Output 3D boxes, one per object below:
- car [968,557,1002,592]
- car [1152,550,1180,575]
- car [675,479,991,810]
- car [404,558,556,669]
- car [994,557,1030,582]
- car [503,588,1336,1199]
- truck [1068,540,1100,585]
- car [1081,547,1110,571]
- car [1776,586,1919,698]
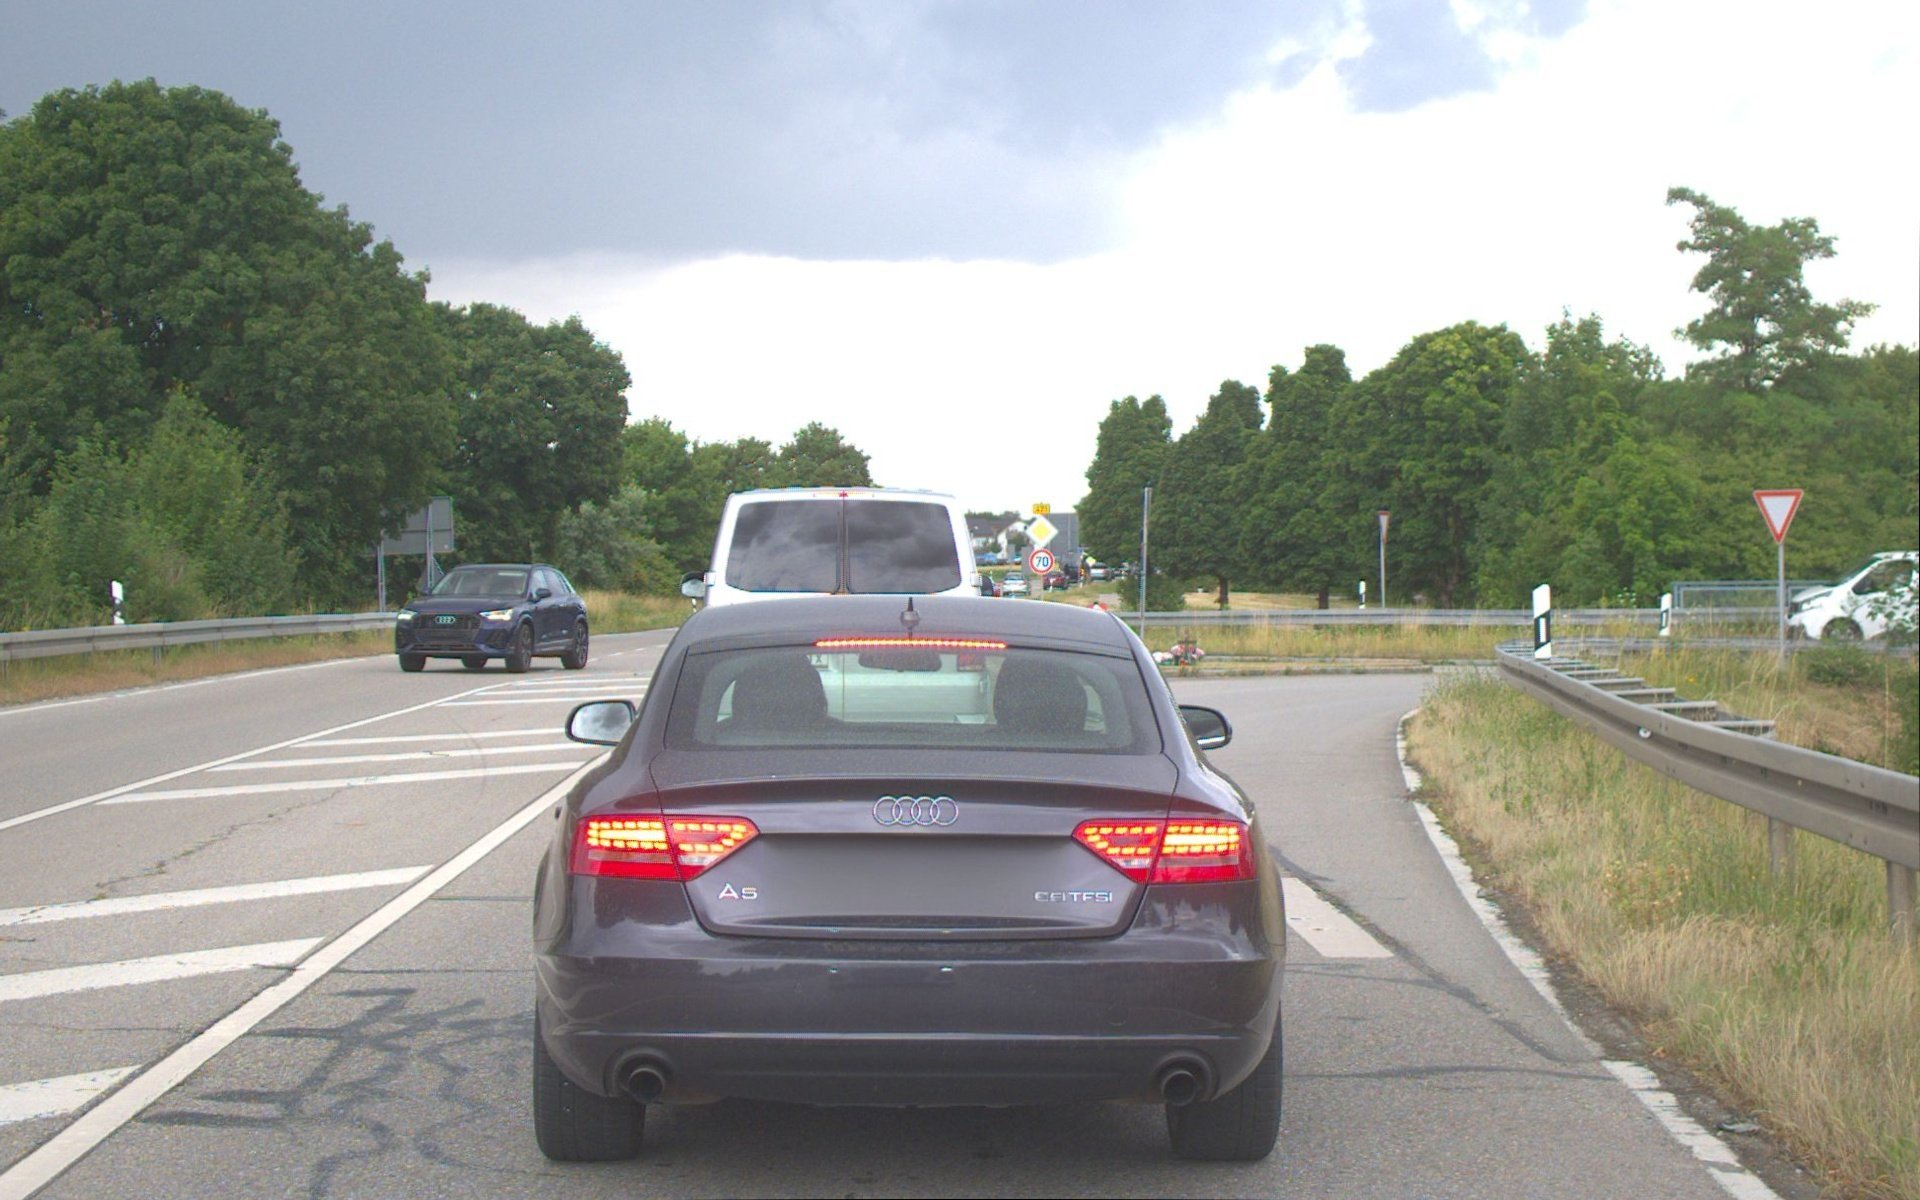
[{"bbox_3d":[1.513,-1.547,208.128,1.993,2.007,4.000,1,1,1],"label":"car"},{"bbox_3d":[14.378,-2.606,239.343,1.876,1.686,4.000,1,1,4],"label":"car"},{"bbox_3d":[-0.842,0.237,23.050,1.910,2.007,4.000,1,1,-2],"label":"car"},{"bbox_3d":[-6.967,0.164,50.235,1.709,1.513,4.210,1,1,-1],"label":"car"},{"bbox_3d":[3.426,-2.000,226.917,2.205,1.577,4.379,1,1,-2],"label":"car"},{"bbox_3d":[-0.145,0.684,9.036,1.779,1.394,3.337,0,1,-2],"label":"car"},{"bbox_3d":[8.210,-2.503,228.208,1.993,2.908,5.793,1,1,2],"label":"truck"},{"bbox_3d":[9.718,-2.923,246.335,1.993,1.686,4.000,1,1,1],"label":"car"},{"bbox_3d":[18.200,0.802,65.584,4.861,2.057,2.087,1,1,6],"label":"car"}]
